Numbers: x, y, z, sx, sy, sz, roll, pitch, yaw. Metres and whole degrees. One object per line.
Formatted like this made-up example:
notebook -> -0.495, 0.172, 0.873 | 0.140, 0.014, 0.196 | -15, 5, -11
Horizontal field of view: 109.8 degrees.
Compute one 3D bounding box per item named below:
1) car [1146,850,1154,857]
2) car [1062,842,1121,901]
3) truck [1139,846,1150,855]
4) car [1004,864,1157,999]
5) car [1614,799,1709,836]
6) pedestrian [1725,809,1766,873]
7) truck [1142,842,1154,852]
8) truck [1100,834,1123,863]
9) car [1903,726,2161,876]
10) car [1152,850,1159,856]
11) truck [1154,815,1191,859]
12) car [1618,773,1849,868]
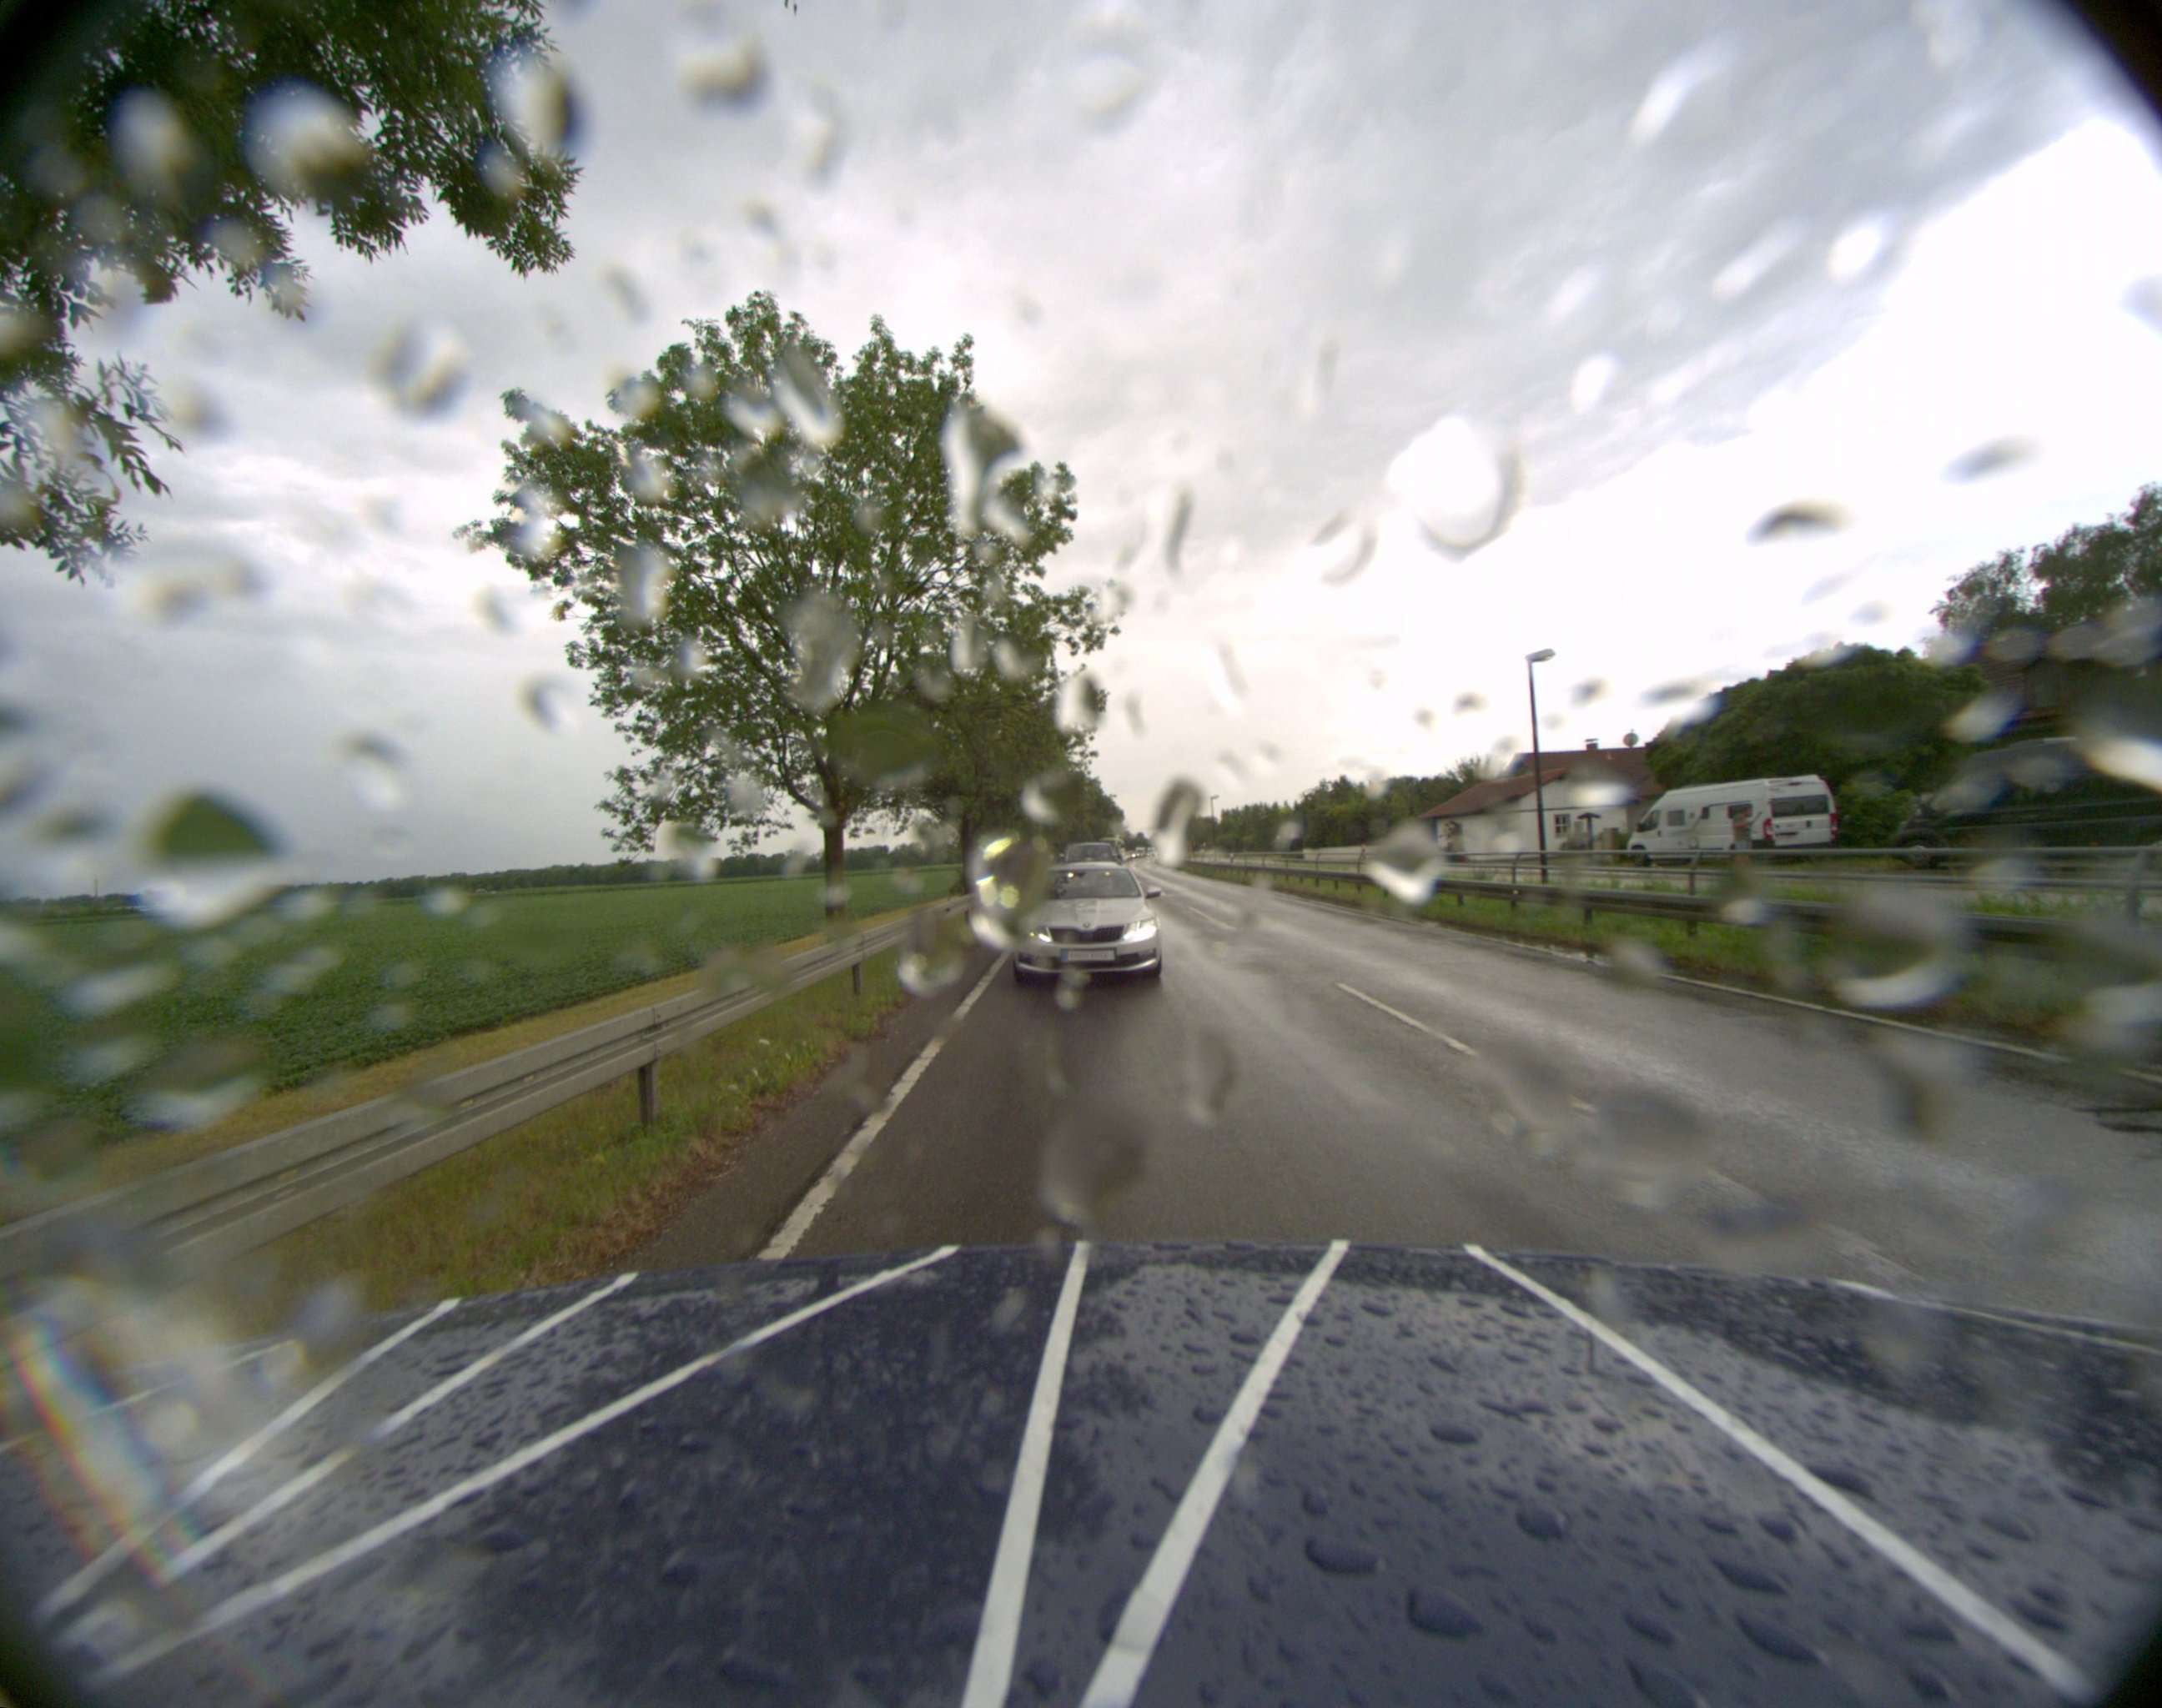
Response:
car -> 20.879, -0.080, 229.539 | 1.998, 2.002, 4.100 | -4, 0, 0
car -> 0.350, 0.565, 26.990 | 1.903, 1.884, 4.000 | -1, 0, 0
truck -> 17.650, -1.021, 211.917 | 2.800, 2.461, 7.169 | -3, 0, 3
car -> -0.012, 0.908, 10.644 | 1.705, 1.438, 4.000 | -1, 0, 0
car -> 24.185, -1.487, 31.801 | 1.452, 1.348, 3.270 | -4, 0, 1
pedestrian -> 18.189, -0.358, 20.810 | 0.516, 1.701, 0.650 | -3, 1, 8
truck -> 17.476, -1.725, 198.551 | 2.800, 2.461, 7.169 | -3, 0, 3
truck -> 4.024, -0.767, 101.394 | 2.751, 3.547, 8.386 | -3, 0, 1
car -> 21.048, -1.053, 15.522 | 2.389, 2.747, 5.572 | -4, 0, 0
car -> 23.994, -0.386, 244.245 | 1.811, 1.723, 4.027 | -4, 0, 1
truck -> 11.319, -2.053, 94.419 | 3.257, 5.004, 7.782 | -4, 0, 0
car -> 20.716, -0.969, 24.667 | 2.243, 2.565, 6.019 | -4, 0, 0
